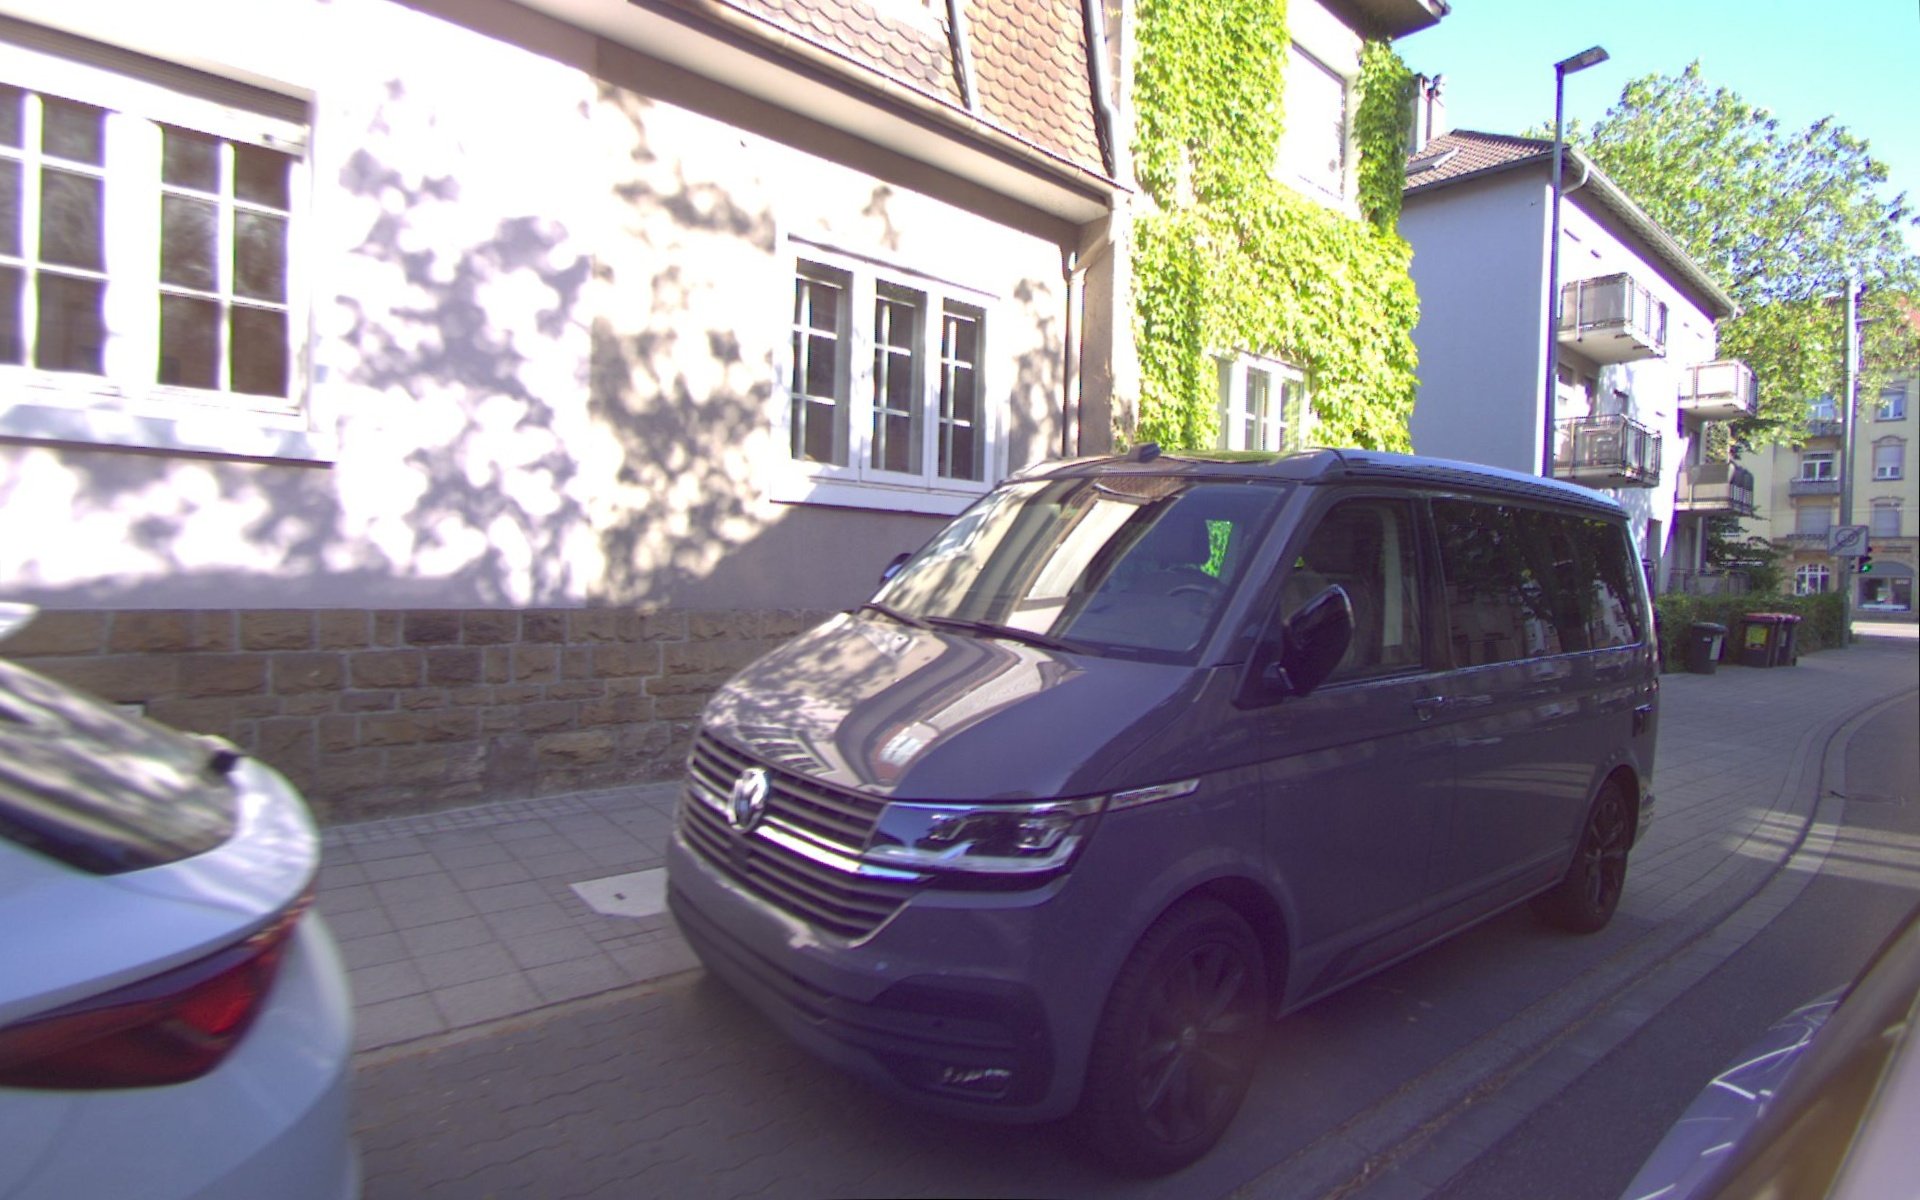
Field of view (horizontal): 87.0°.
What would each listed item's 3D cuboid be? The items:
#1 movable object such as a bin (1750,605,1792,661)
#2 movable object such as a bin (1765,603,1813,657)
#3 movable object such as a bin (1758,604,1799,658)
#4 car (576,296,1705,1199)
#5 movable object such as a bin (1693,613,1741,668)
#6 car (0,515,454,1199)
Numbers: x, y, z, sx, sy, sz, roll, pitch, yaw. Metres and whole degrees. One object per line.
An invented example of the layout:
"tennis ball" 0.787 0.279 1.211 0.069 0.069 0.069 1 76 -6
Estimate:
"movable object such as a bin" 16.295 0.659 20.335 0.608 1.056 0.484 0 5 -42
"movable object such as a bin" 17.431 0.622 21.273 0.695 1.056 0.598 0 5 -42
"movable object such as a bin" 16.831 0.629 20.802 0.645 1.056 0.484 0 5 -42
"car" 1.143 0.350 4.122 4.696 1.939 1.870 0 3 -39
"movable object such as a bin" 13.808 0.734 18.466 0.562 0.926 0.505 0 5 -37
"car" -2.884 0.612 0.571 4.363 1.475 1.681 0 2 -42
